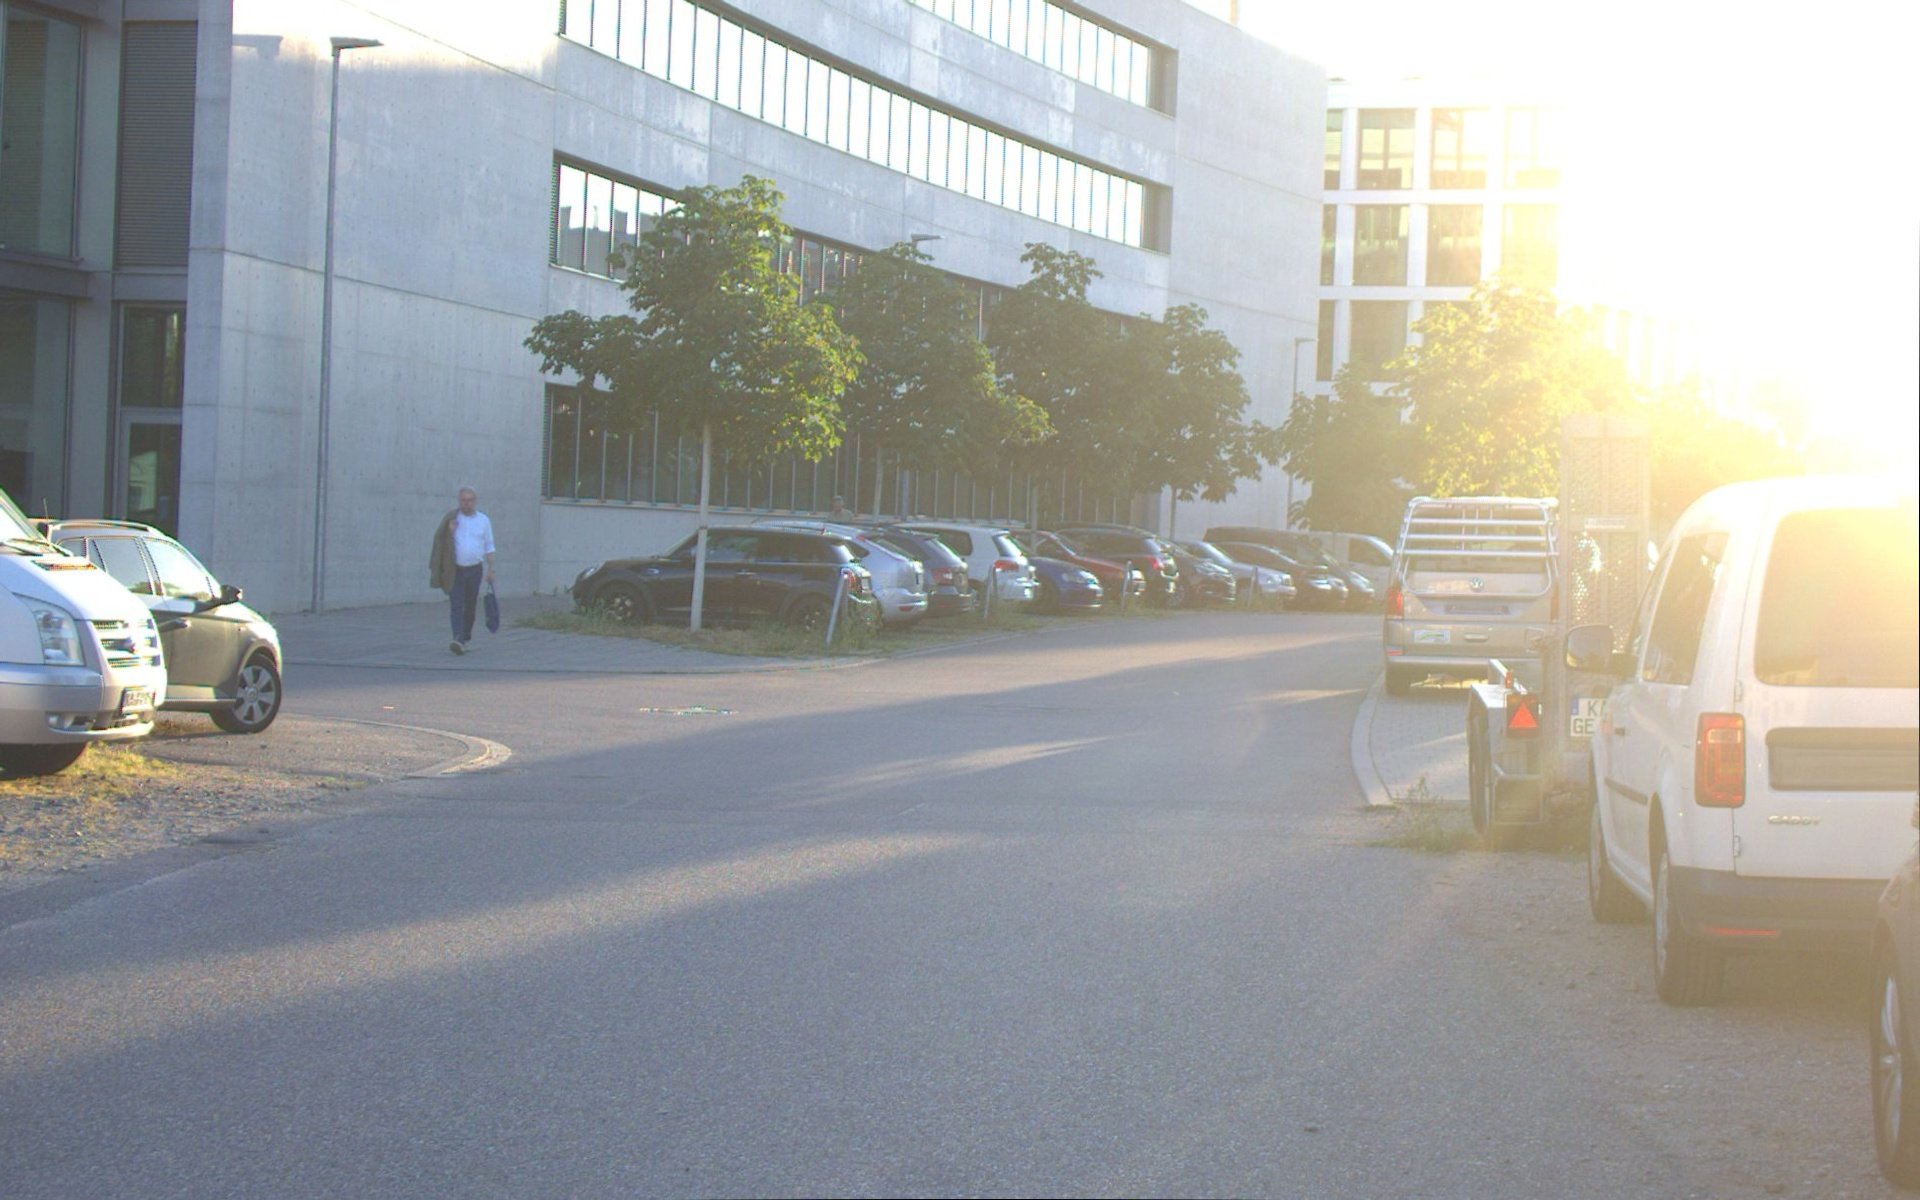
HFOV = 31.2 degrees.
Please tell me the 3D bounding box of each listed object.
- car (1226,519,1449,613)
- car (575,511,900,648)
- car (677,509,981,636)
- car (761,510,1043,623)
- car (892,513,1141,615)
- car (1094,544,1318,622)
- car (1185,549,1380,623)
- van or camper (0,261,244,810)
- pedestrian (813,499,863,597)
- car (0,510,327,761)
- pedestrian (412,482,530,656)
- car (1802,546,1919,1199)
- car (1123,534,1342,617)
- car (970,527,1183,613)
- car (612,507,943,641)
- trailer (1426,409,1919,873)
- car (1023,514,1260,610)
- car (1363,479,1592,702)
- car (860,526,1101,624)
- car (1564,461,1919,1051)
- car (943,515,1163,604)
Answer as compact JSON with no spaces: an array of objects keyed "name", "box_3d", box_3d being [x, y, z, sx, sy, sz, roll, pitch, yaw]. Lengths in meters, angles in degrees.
[{"name":"car","box_3d":[9.386,-0.841,85.571,5.082,1.940,1.887,5,1,22]},{"name":"car","box_3d":[-2.792,-0.285,43.523,3.736,1.477,1.769,3,2,9]},{"name":"car","box_3d":[-1.824,-0.407,48.522,3.999,1.507,1.584,4,3,8]},{"name":"car","box_3d":[-0.884,-0.539,53.286,3.990,1.506,1.759,3,2,14]},{"name":"car","box_3d":[0.982,-0.624,58.746,3.873,1.506,1.759,4,2,15]},{"name":"car","box_3d":[5.294,-0.381,73.922,4.438,1.459,1.761,3,2,21]},{"name":"car","box_3d":[7.537,-0.316,80.376,4.149,1.399,1.723,5,1,21]},{"name":"van or camper","box_3d":[-7.800,-0.522,19.654,6.741,2.887,2.408,3,1,4]},{"name":"pedestrian","box_3d":[-2.251,-0.966,63.636,0.646,1.778,0.724,4,1,15]},{"name":"car","box_3d":[-6.038,0.179,23.377,1.688,1.514,4.358,4,1,14]},{"name":"pedestrian","box_3d":[-5.303,-0.340,37.261,0.900,1.844,0.856,0,2,-44]},{"name":"car","box_3d":[2.820,0.676,6.823,1.705,1.514,4.087,2,1,7]},{"name":"car","box_3d":[6.044,-0.549,76.289,4.403,1.494,1.761,5,1,24]},{"name":"car","box_3d":[2.231,-0.567,65.663,3.705,1.452,1.678,3,1,17]},{"name":"car","box_3d":[-2.426,-0.364,46.285,4.087,1.523,1.846,4,2,8]},{"name":"trailer","box_3d":[3.868,0.138,19.304,2.064,2.204,5.222,1,1,4]},{"name":"car","box_3d":[3.613,-0.750,68.261,4.312,1.690,1.895,3,1,17]},{"name":"car","box_3d":[5.395,-0.147,35.377,2.066,2.087,4.870,2,1,11]},{"name":"car","box_3d":[0.354,-0.420,55.936,3.634,1.357,1.685,3,2,10]},{"name":"car","box_3d":[3.357,0.487,12.907,1.771,1.825,4.407,1,0,6]},{"name":"car","box_3d":[1.735,-0.738,63.563,3.705,1.452,1.710,3,1,16]}]
